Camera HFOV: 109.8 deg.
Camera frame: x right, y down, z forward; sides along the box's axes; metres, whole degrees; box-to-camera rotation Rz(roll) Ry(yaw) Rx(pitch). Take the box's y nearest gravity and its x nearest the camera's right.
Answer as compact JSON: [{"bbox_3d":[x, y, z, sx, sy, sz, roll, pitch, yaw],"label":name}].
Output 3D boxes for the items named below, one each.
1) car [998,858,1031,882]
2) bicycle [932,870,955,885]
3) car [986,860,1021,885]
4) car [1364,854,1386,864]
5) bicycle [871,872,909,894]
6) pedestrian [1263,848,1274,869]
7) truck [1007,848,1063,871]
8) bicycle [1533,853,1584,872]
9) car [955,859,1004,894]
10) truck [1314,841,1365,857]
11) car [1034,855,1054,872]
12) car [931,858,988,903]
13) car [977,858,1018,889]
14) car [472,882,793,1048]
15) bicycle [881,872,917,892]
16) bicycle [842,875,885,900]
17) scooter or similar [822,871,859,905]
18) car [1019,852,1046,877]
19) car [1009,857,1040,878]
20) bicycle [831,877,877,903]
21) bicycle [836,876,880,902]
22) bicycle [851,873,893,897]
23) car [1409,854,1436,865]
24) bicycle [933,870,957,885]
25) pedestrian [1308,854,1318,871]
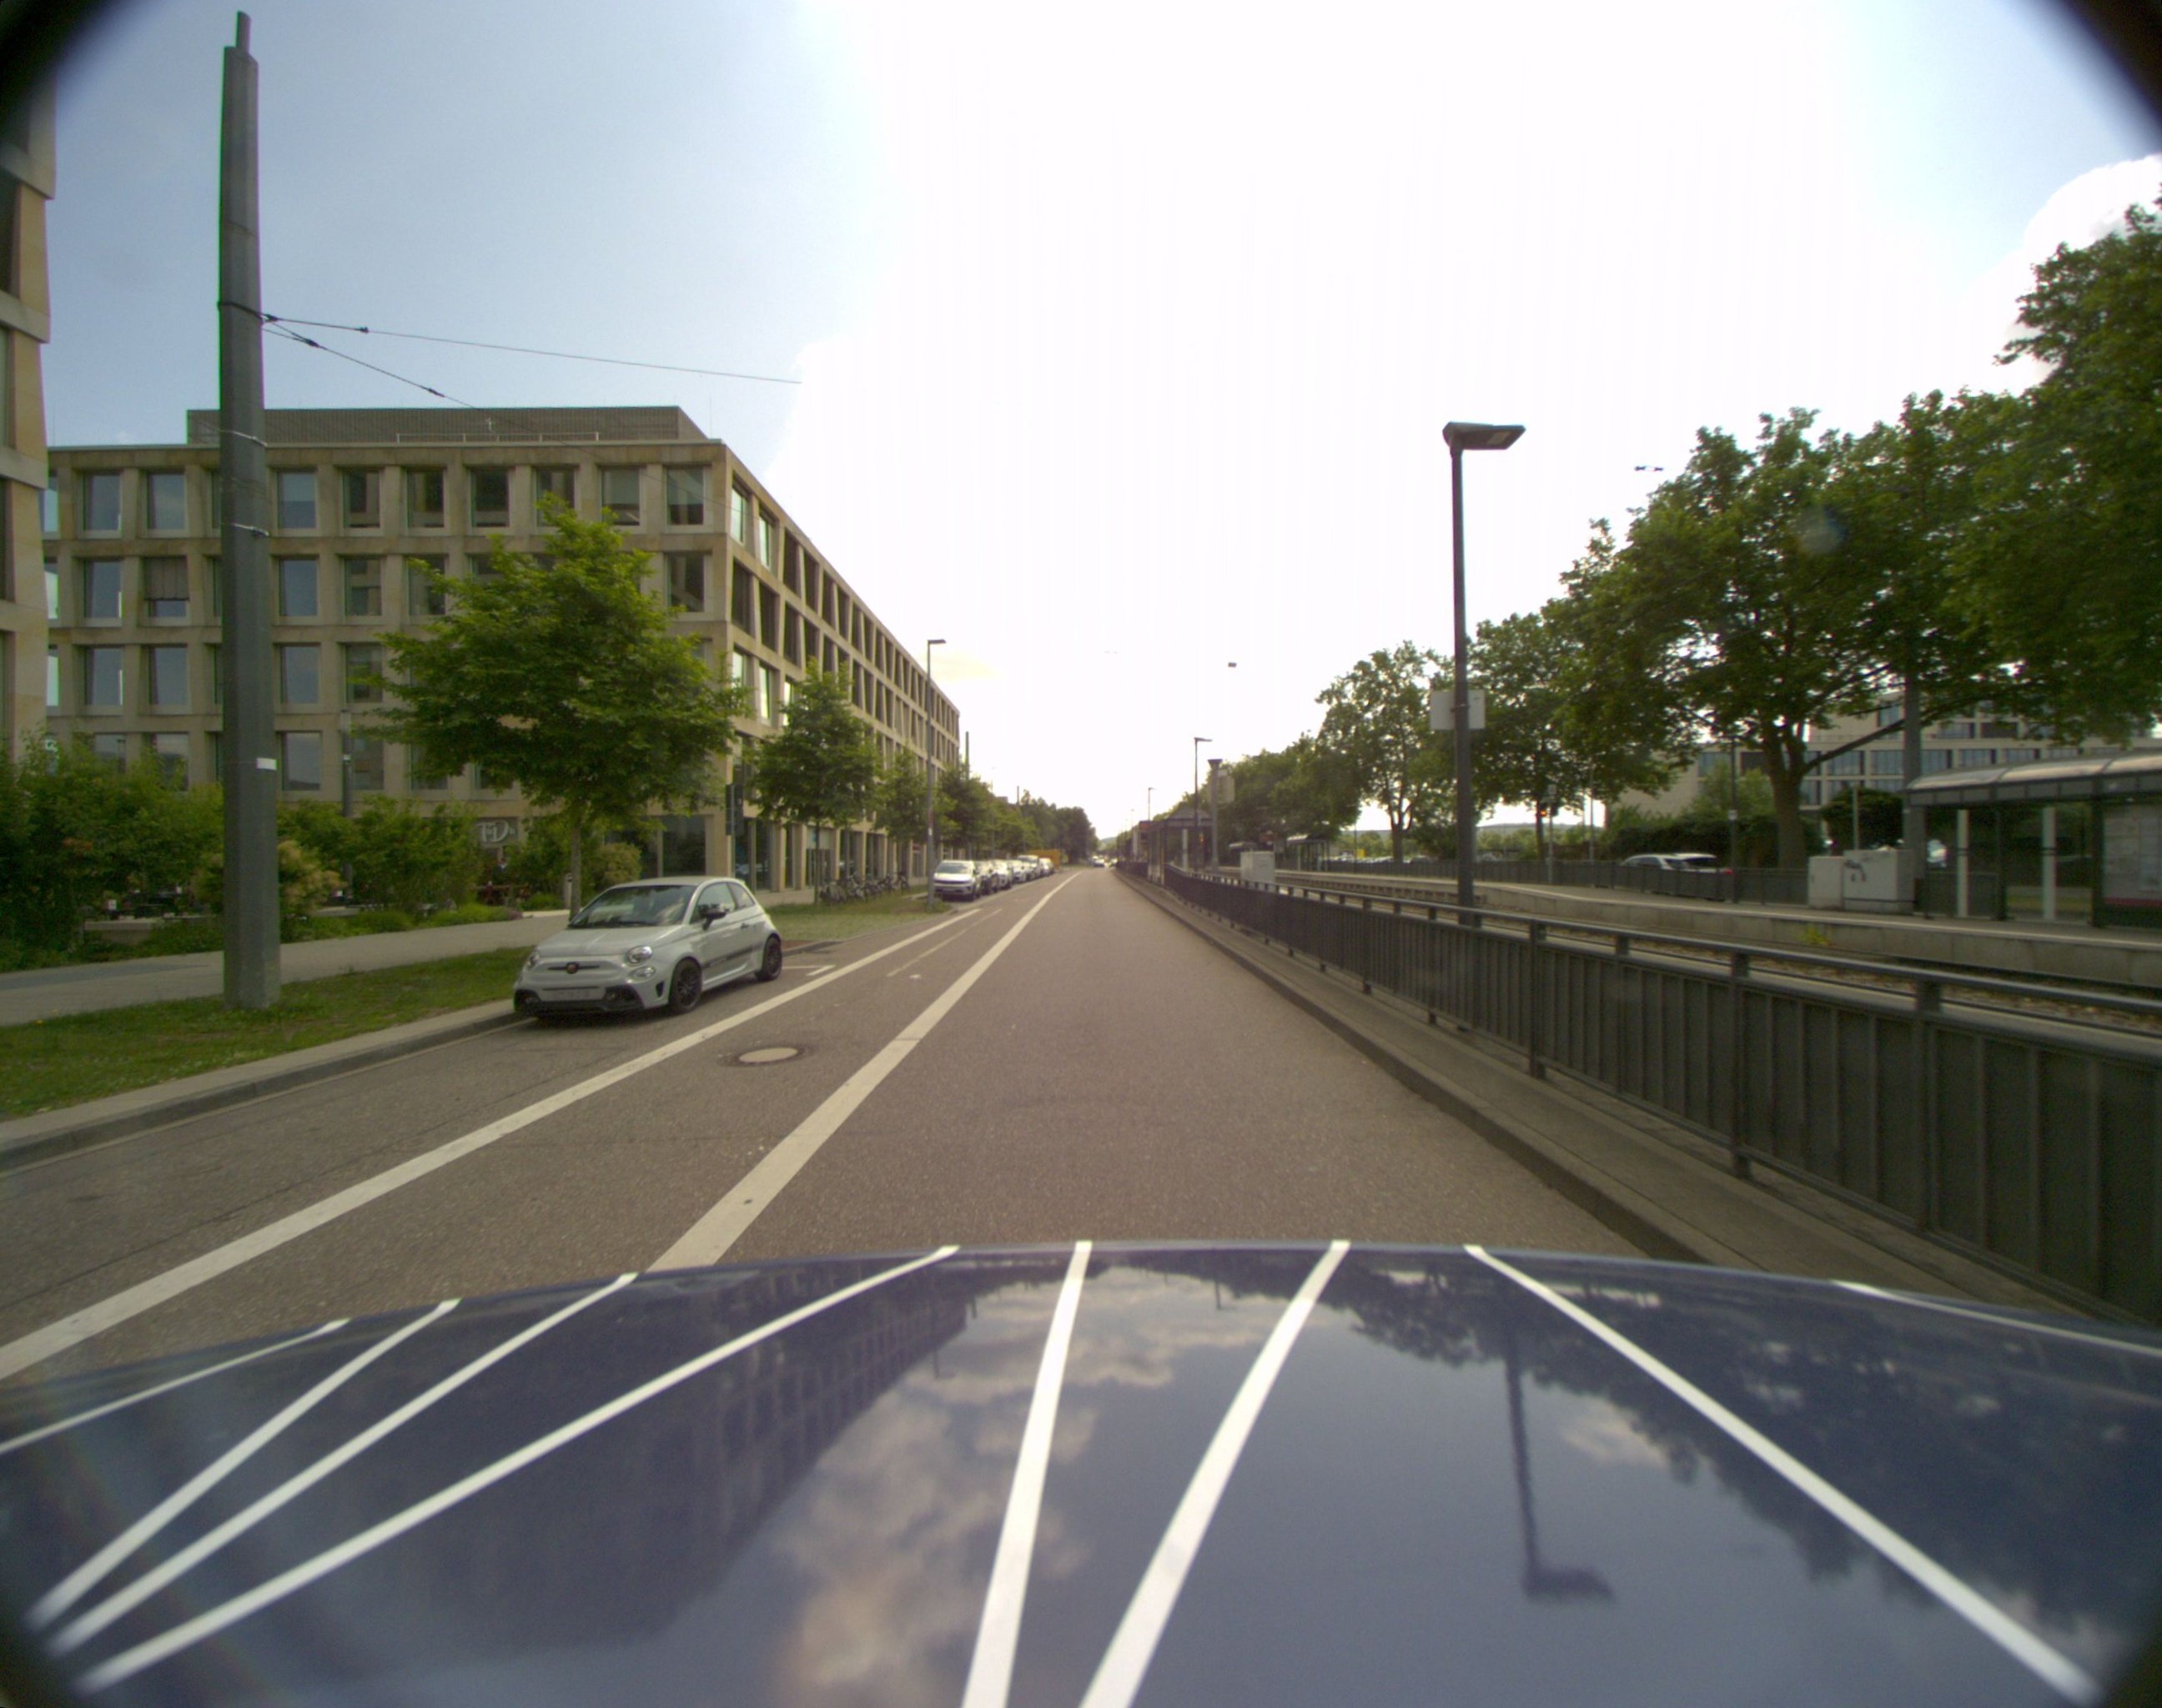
[{"bbox_3d":[-4.550,1.066,52.421,1.797,1.521,4.159,1,0,1],"label":"car"},{"bbox_3d":[-8.353,1.437,46.163,1.386,0.871,0.270,0,4,4],"label":"bicycle"},{"bbox_3d":[-4.814,1.137,47.510,1.689,1.449,3.950,1,0,1],"label":"car"},{"bbox_3d":[44.332,0.743,114.686,1.802,1.467,4.000,0,0,1],"label":"car"},{"bbox_3d":[-8.350,1.248,33.264,1.499,0.912,0.505,0,3,4],"label":"bicycle"},{"bbox_3d":[16.528,0.415,66.823,0.708,1.834,0.864,0,0,-3],"label":"pedestrian"},{"bbox_3d":[-5.681,0.658,94.548,6.824,2.851,2.454,0,1,-1],"label":"truck"},{"bbox_3d":[33.698,0.586,53.651,3.045,1.161,0.634,-3,0,6],"label":"bicycle"},{"bbox_3d":[-4.737,1.028,35.997,1.689,1.539,3.926,1,0,1],"label":"car"},{"bbox_3d":[69.488,-1.408,204.462,12.817,4.050,2.748,1,1,3],"label":"truck"},{"bbox_3d":[-3.582,0.916,74.149,1.725,1.610,3.860,0,0,1],"label":"car"},{"bbox_3d":[-4.854,1.001,30.769,1.690,1.624,3.989,2,0,-1],"label":"car"},{"bbox_3d":[-4.556,1.021,42.049,1.689,1.596,4.152,1,0,1],"label":"car"},{"bbox_3d":[-5.073,1.158,9.230,1.595,1.451,3.613,-2,0,2],"label":"car"},{"bbox_3d":[-8.424,1.301,35.243,1.499,0.912,0.505,0,3,4],"label":"bicycle"},{"bbox_3d":[-8.414,1.281,29.417,1.499,0.912,0.505,0,3,4],"label":"bicycle"},{"bbox_3d":[-8.580,1.207,27.117,1.054,1.168,0.719,-1,1,5],"label":"scooter or similar"},{"bbox_3d":[-3.999,0.829,63.225,1.886,1.928,4.843,1,0,1],"label":"car"},{"bbox_3d":[-4.246,0.993,57.802,1.886,1.478,4.563,0,0,1],"label":"car"},{"bbox_3d":[-8.286,1.316,27.753,1.499,0.912,0.505,0,3,4],"label":"bicycle"},{"bbox_3d":[-8.374,1.308,28.553,1.499,0.912,0.505,0,3,4],"label":"bicycle"},{"bbox_3d":[-8.323,1.236,30.317,1.499,0.912,0.505,0,3,4],"label":"bicycle"},{"bbox_3d":[46.198,0.798,102.852,1.802,1.467,4.000,0,0,1],"label":"car"},{"bbox_3d":[-8.328,1.425,46.467,1.386,0.871,0.270,0,4,4],"label":"bicycle"},{"bbox_3d":[18.008,0.646,58.877,0.554,1.262,0.768,0,0,3],"label":"pedestrian"}]
